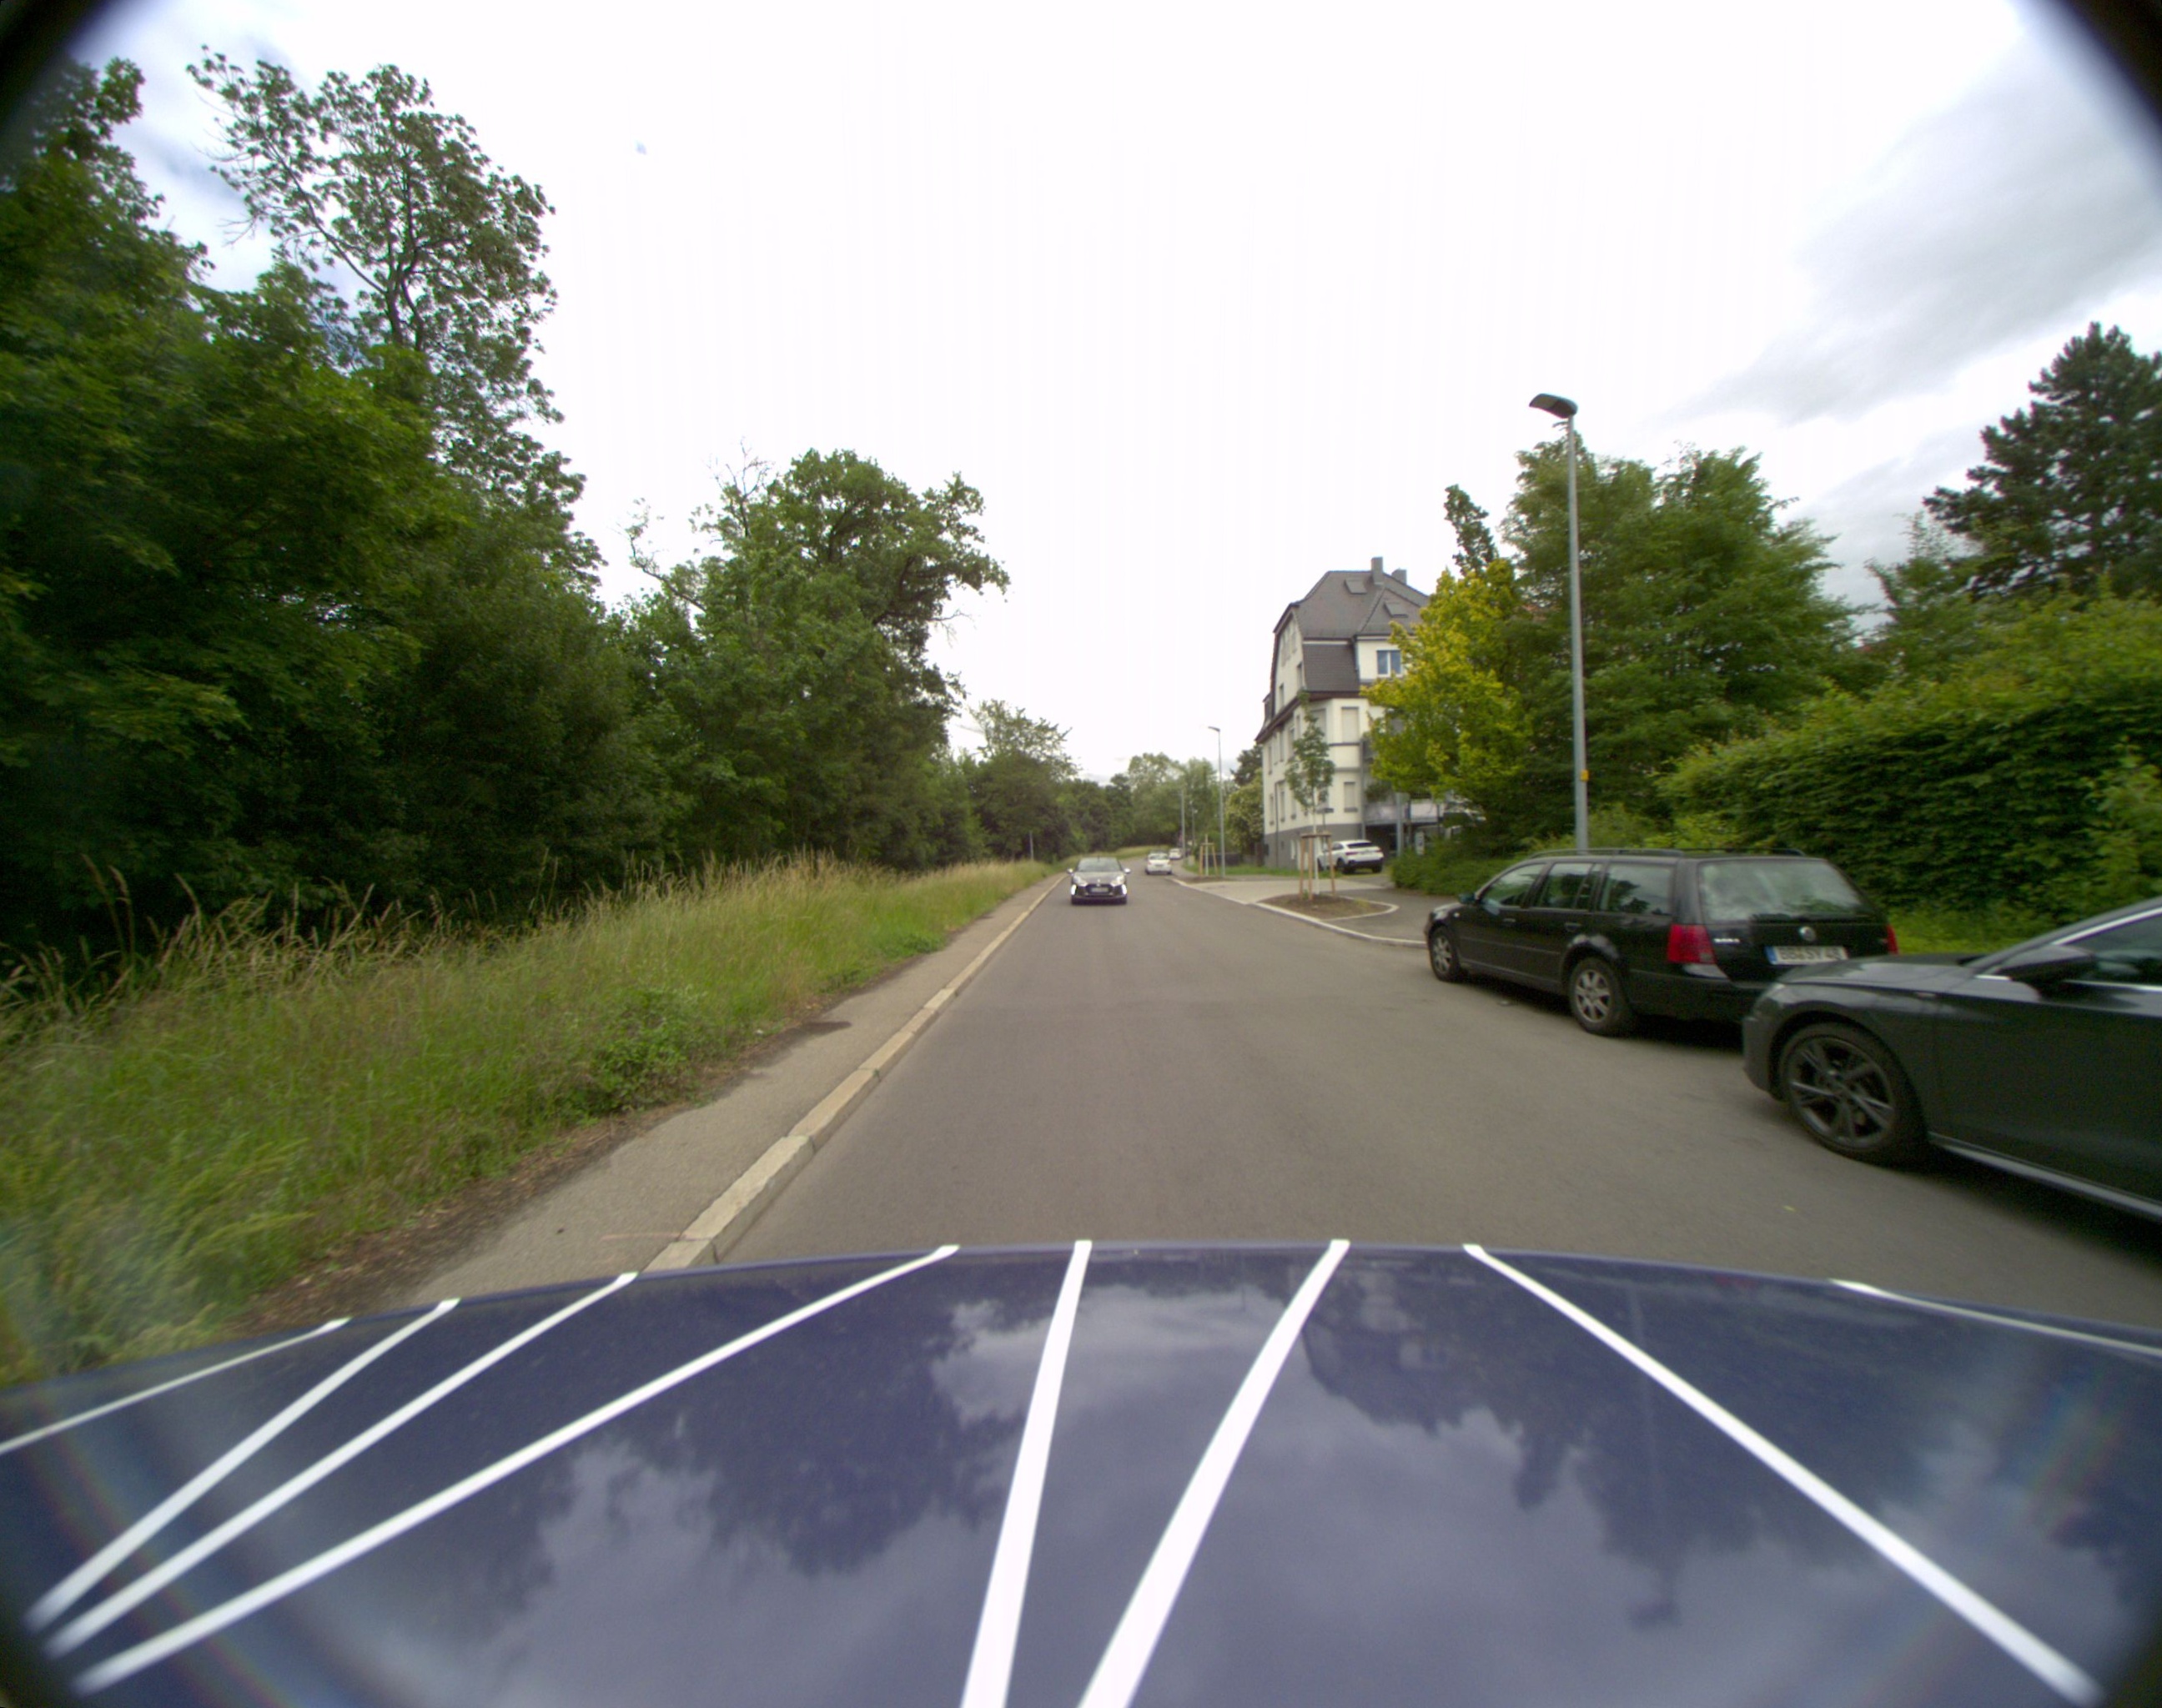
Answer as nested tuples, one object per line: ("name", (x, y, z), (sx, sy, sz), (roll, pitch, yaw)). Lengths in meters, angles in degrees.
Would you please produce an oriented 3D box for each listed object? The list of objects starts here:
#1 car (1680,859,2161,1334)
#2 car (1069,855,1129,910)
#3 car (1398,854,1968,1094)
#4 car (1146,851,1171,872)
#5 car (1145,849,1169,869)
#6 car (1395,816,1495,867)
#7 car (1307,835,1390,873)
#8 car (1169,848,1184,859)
("car", (4.310, 0.794, 2.191), (1.710, 1.474, 4.495), (-1, 0, 2))
("car", (0.626, 0.808, 23.276), (1.619, 1.460, 4.001), (-2, 0, 4))
("car", (4.789, 0.760, 7.155), (1.687, 1.474, 4.692), (-1, 0, 1))
("car", (5.497, 0.497, 54.076), (1.646, 1.461, 4.072), (0, 0, 4))
("car", (5.958, 0.353, 59.836), (1.728, 1.382, 4.726), (0, 1, 4))
("car", (16.463, -0.587, 34.674), (1.911, 2.039, 4.761), (-5, 2, -4))
("car", (12.470, -0.054, 35.748), (1.911, 1.524, 4.594), (-5, 2, -4))
("car", (13.251, -0.091, 105.475), (1.735, 1.420, 3.460), (0, 1, 12))
